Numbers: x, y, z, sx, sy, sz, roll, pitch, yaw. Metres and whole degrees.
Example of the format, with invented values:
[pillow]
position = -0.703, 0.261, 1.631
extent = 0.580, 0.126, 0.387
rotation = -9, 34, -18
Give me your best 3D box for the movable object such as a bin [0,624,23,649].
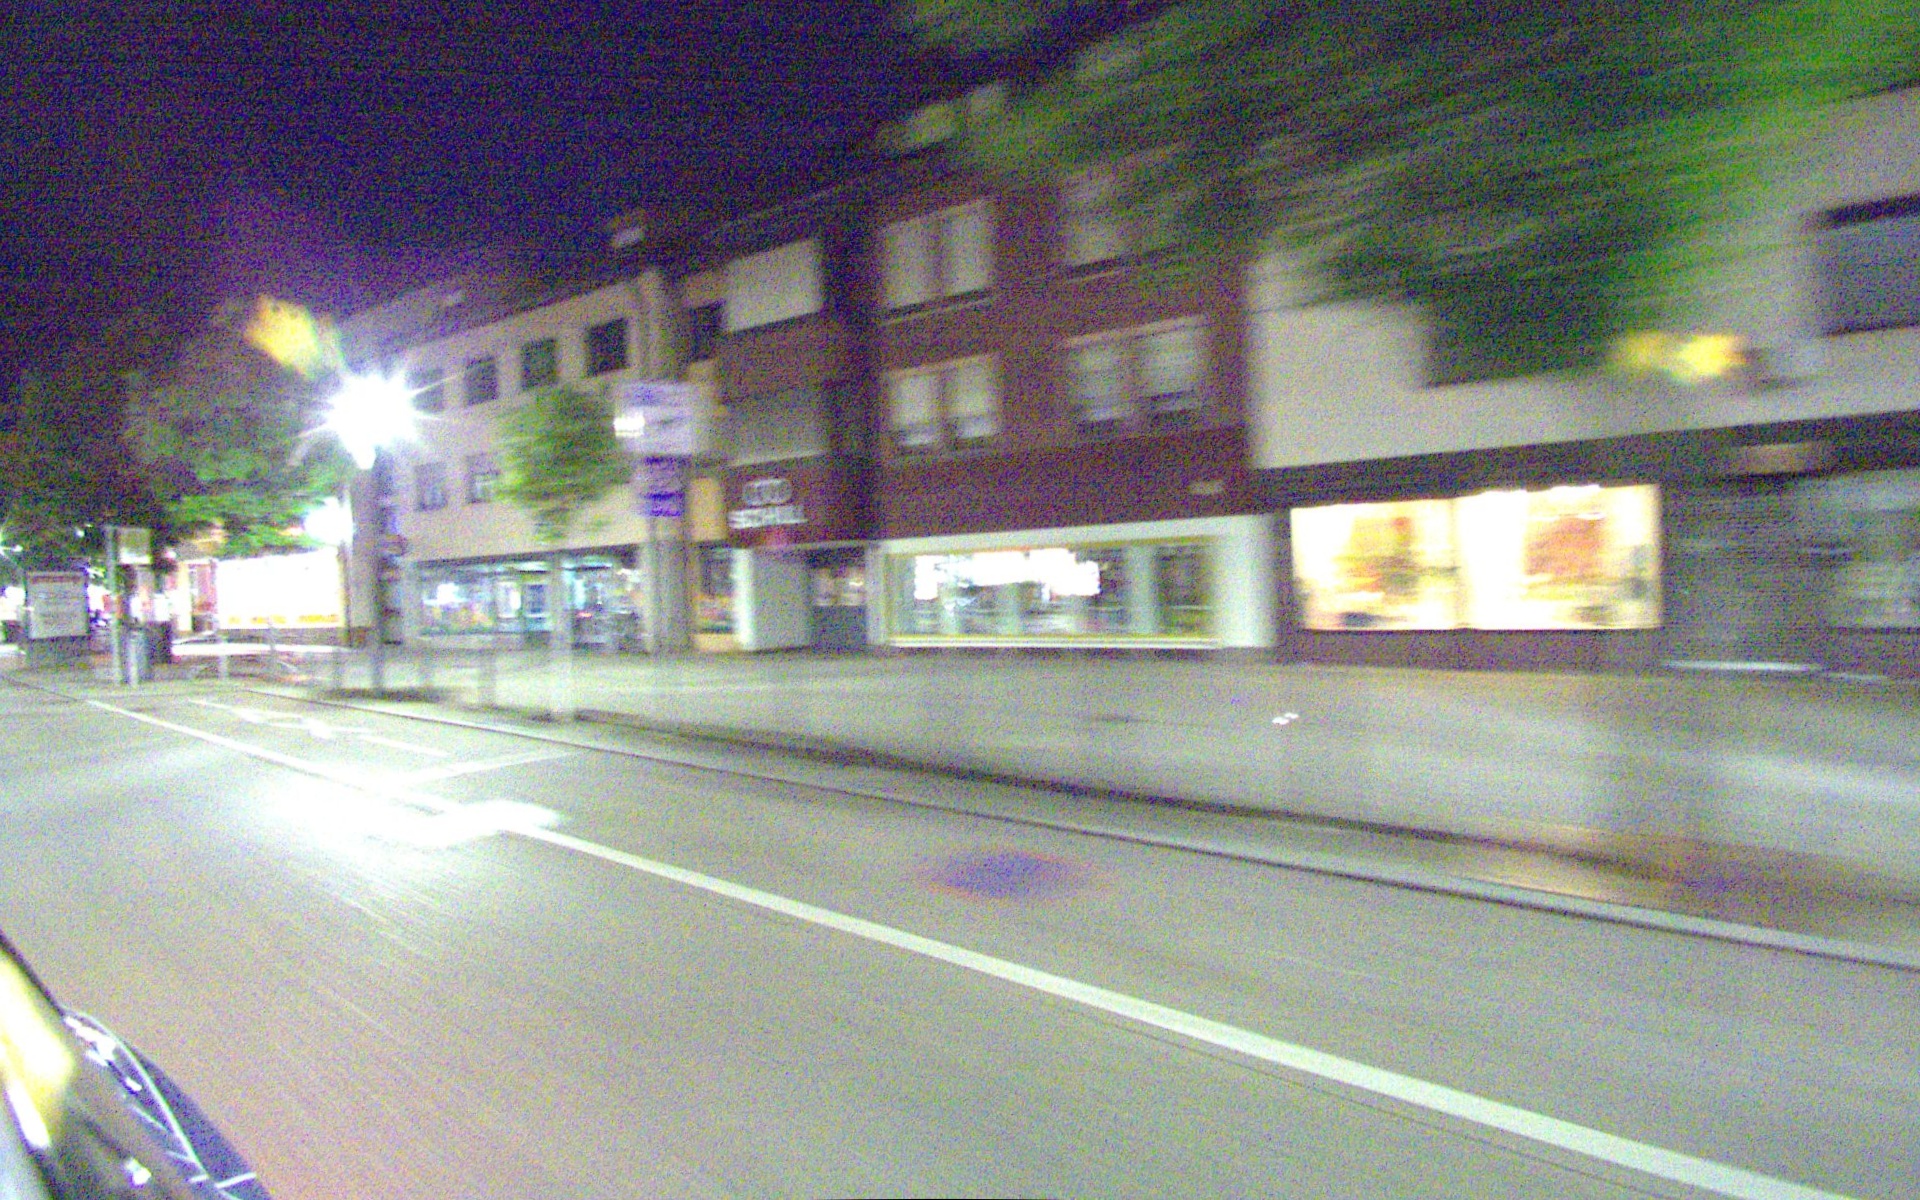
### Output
[movable object such as a bin]
position = -43.197, 1.644, 45.956
extent = 0.789, 1.073, 0.741
rotation = 0, 0, 31
